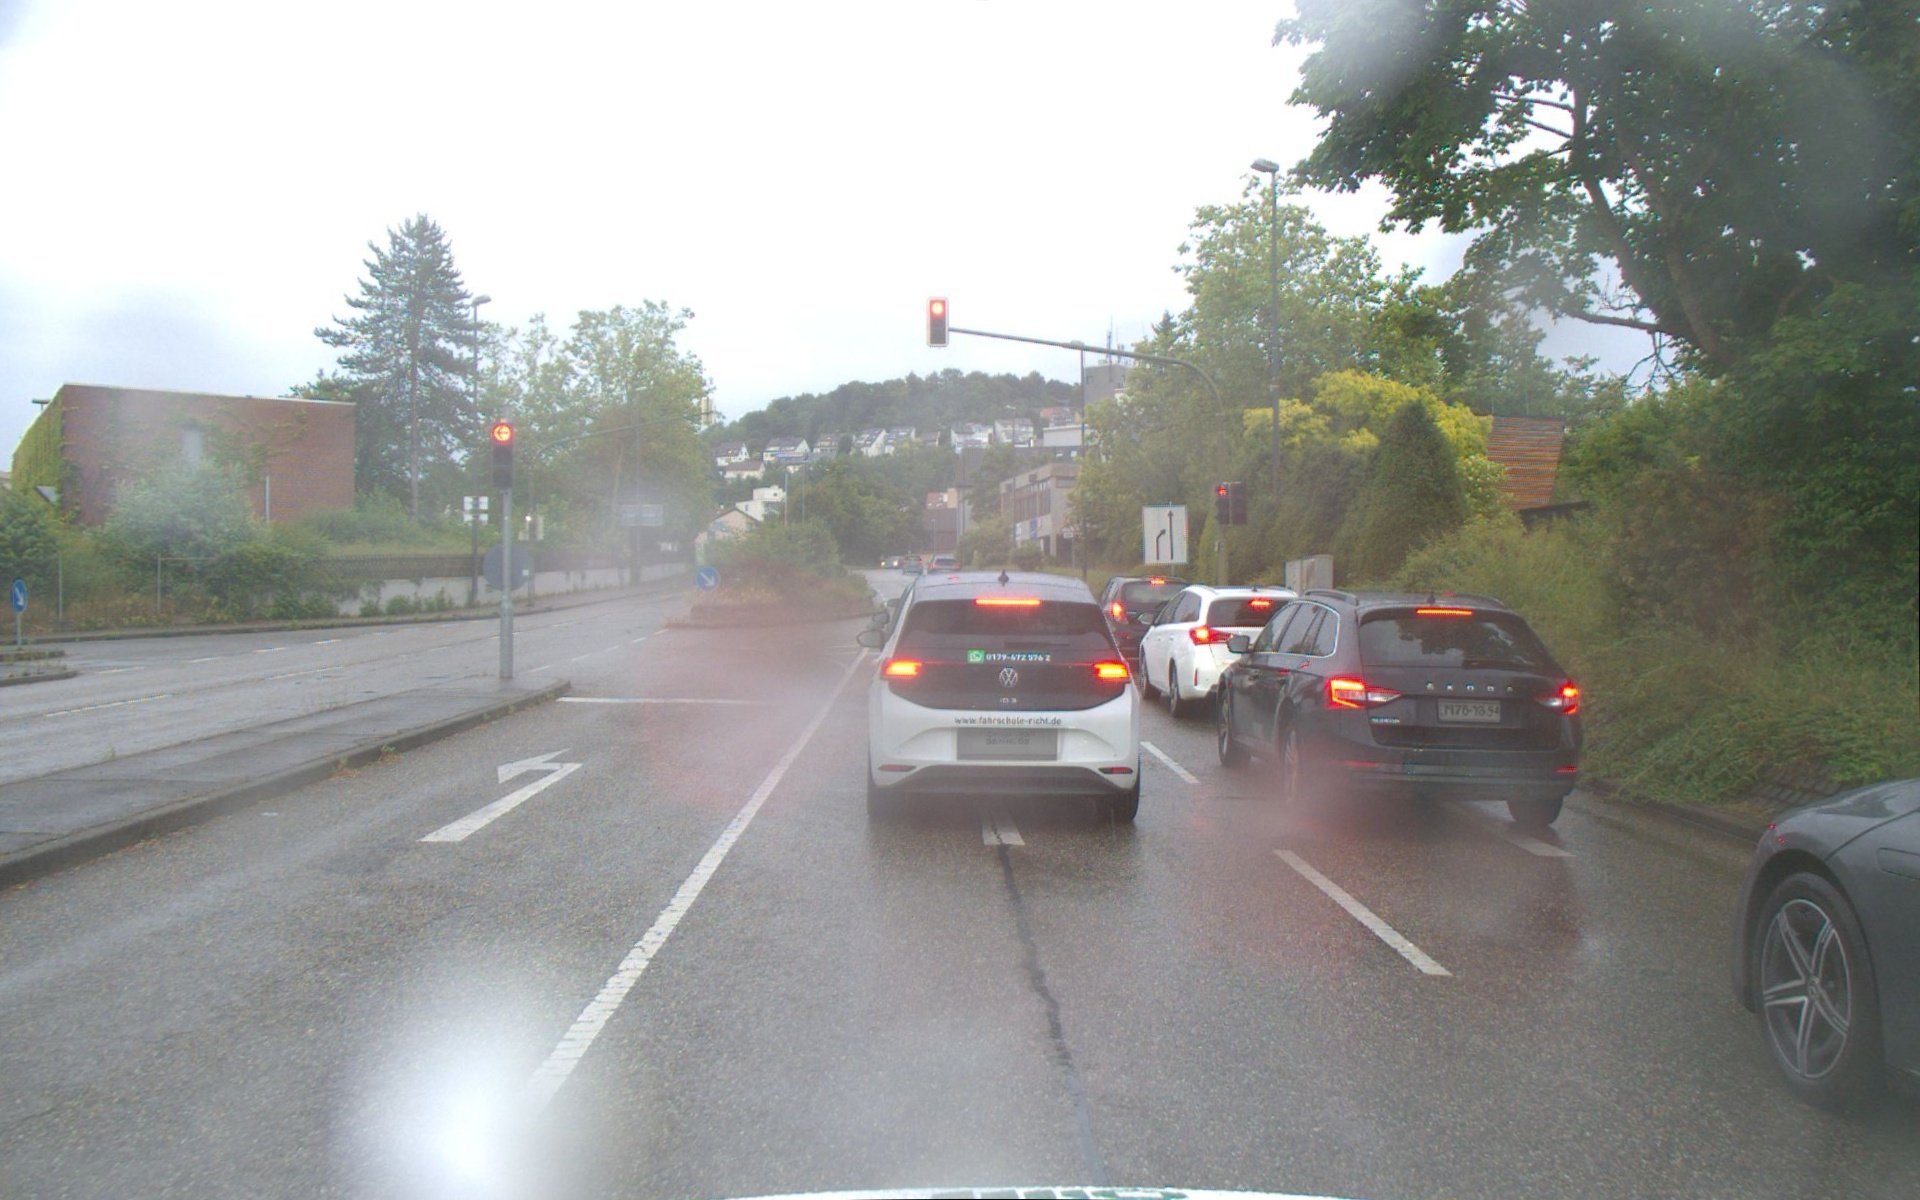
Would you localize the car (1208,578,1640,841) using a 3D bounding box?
[{"bbox_3d":[3.081,0.626,11.994,1.800,1.492,4.349,2,1,-1],"label":"car"}]

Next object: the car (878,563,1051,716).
[{"bbox_3d":[0.001,0.382,19.655,1.800,1.582,4.174,2,1,-1],"label":"car"}]

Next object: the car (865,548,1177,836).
[{"bbox_3d":[0.313,0.502,12.079,1.800,1.657,4.615,2,1,-1],"label":"car"}]

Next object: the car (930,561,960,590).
[{"bbox_3d":[-0.888,-1.460,99.789,1.739,1.608,4.000,-2,0,-1],"label":"car"}]

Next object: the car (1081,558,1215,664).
[{"bbox_3d":[3.082,0.164,27.810,1.739,1.609,4.000,1,0,-1],"label":"car"}]

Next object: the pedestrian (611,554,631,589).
[{"bbox_3d":[-15.968,-1.336,77.946,0.744,1.595,0.825,-2,0,-1],"label":"pedestrian"}]

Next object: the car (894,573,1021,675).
[{"bbox_3d":[-0.074,0.313,25.874,1.800,1.424,3.830,2,1,-1],"label":"car"}]

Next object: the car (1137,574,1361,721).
[{"bbox_3d":[3.271,0.474,19.492,1.800,1.492,4.116,2,1,-1],"label":"car"}]

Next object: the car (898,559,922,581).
[{"bbox_3d":[-3.857,-2.309,128.733,1.739,1.608,4.000,-2,0,-1],"label":"car"}]

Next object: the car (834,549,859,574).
[{"bbox_3d":[-9.920,-3.368,144.684,1.953,2.049,3.999,1,0,0],"label":"car"}]

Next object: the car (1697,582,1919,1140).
[{"bbox_3d":[3.528,0.755,3.360,1.800,1.492,4.807,2,1,-1],"label":"car"}]
